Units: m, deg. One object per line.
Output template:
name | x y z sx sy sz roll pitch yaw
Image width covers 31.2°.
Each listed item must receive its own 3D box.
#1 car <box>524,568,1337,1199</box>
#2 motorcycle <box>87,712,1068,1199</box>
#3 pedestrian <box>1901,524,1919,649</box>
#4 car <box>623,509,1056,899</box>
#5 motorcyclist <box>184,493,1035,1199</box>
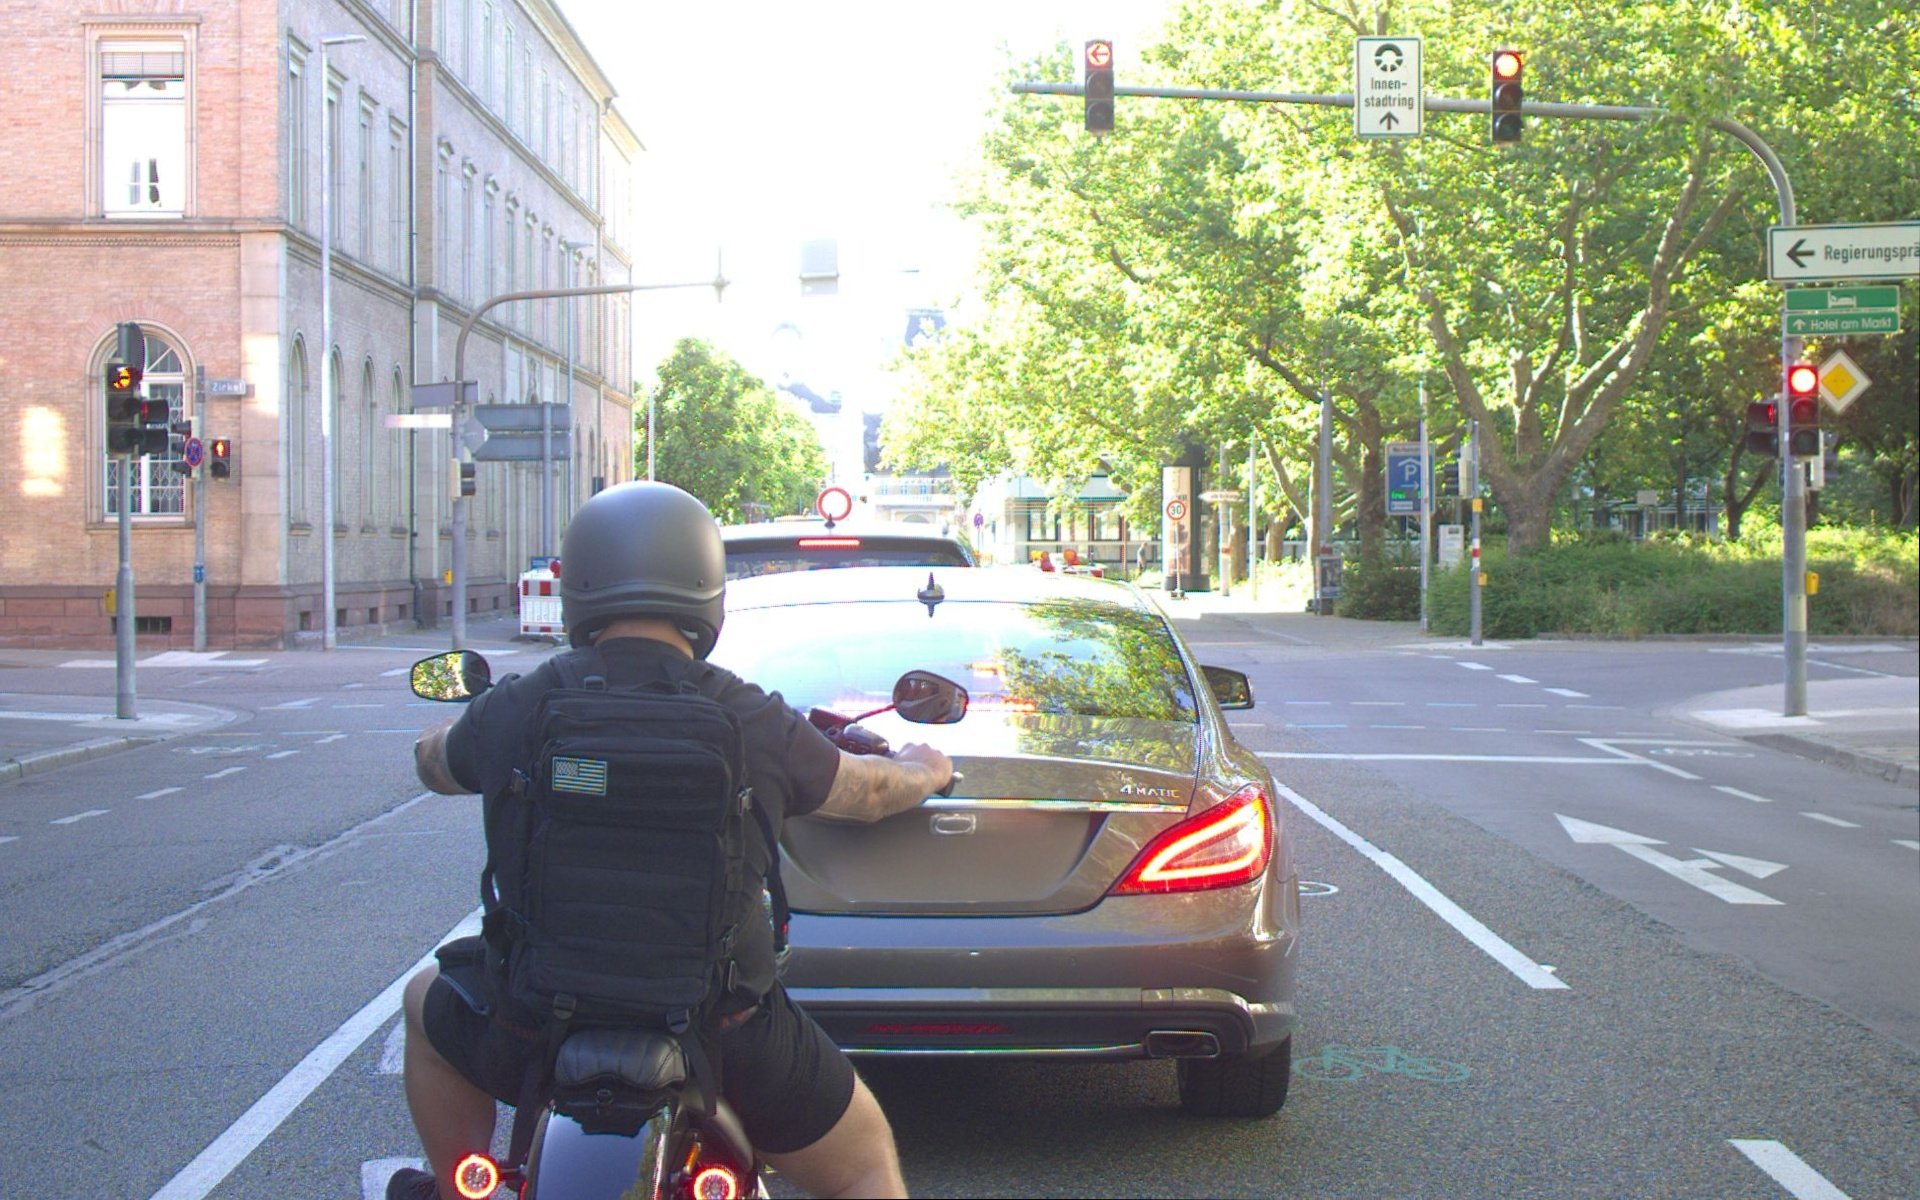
car | -0.087 0.639 9.685 1.822 1.432 3.806 1 1 -1
motorcycle | -0.470 0.837 5.521 1.118 1.203 2.212 1 1 6
pedestrian | 13.889 -0.196 49.059 0.736 1.772 0.729 1 0 4
car | -0.545 0.432 16.963 1.863 1.672 4.000 1 1 -1
motorcyclist | -0.485 0.634 5.297 1.099 1.560 1.071 1 0 6
